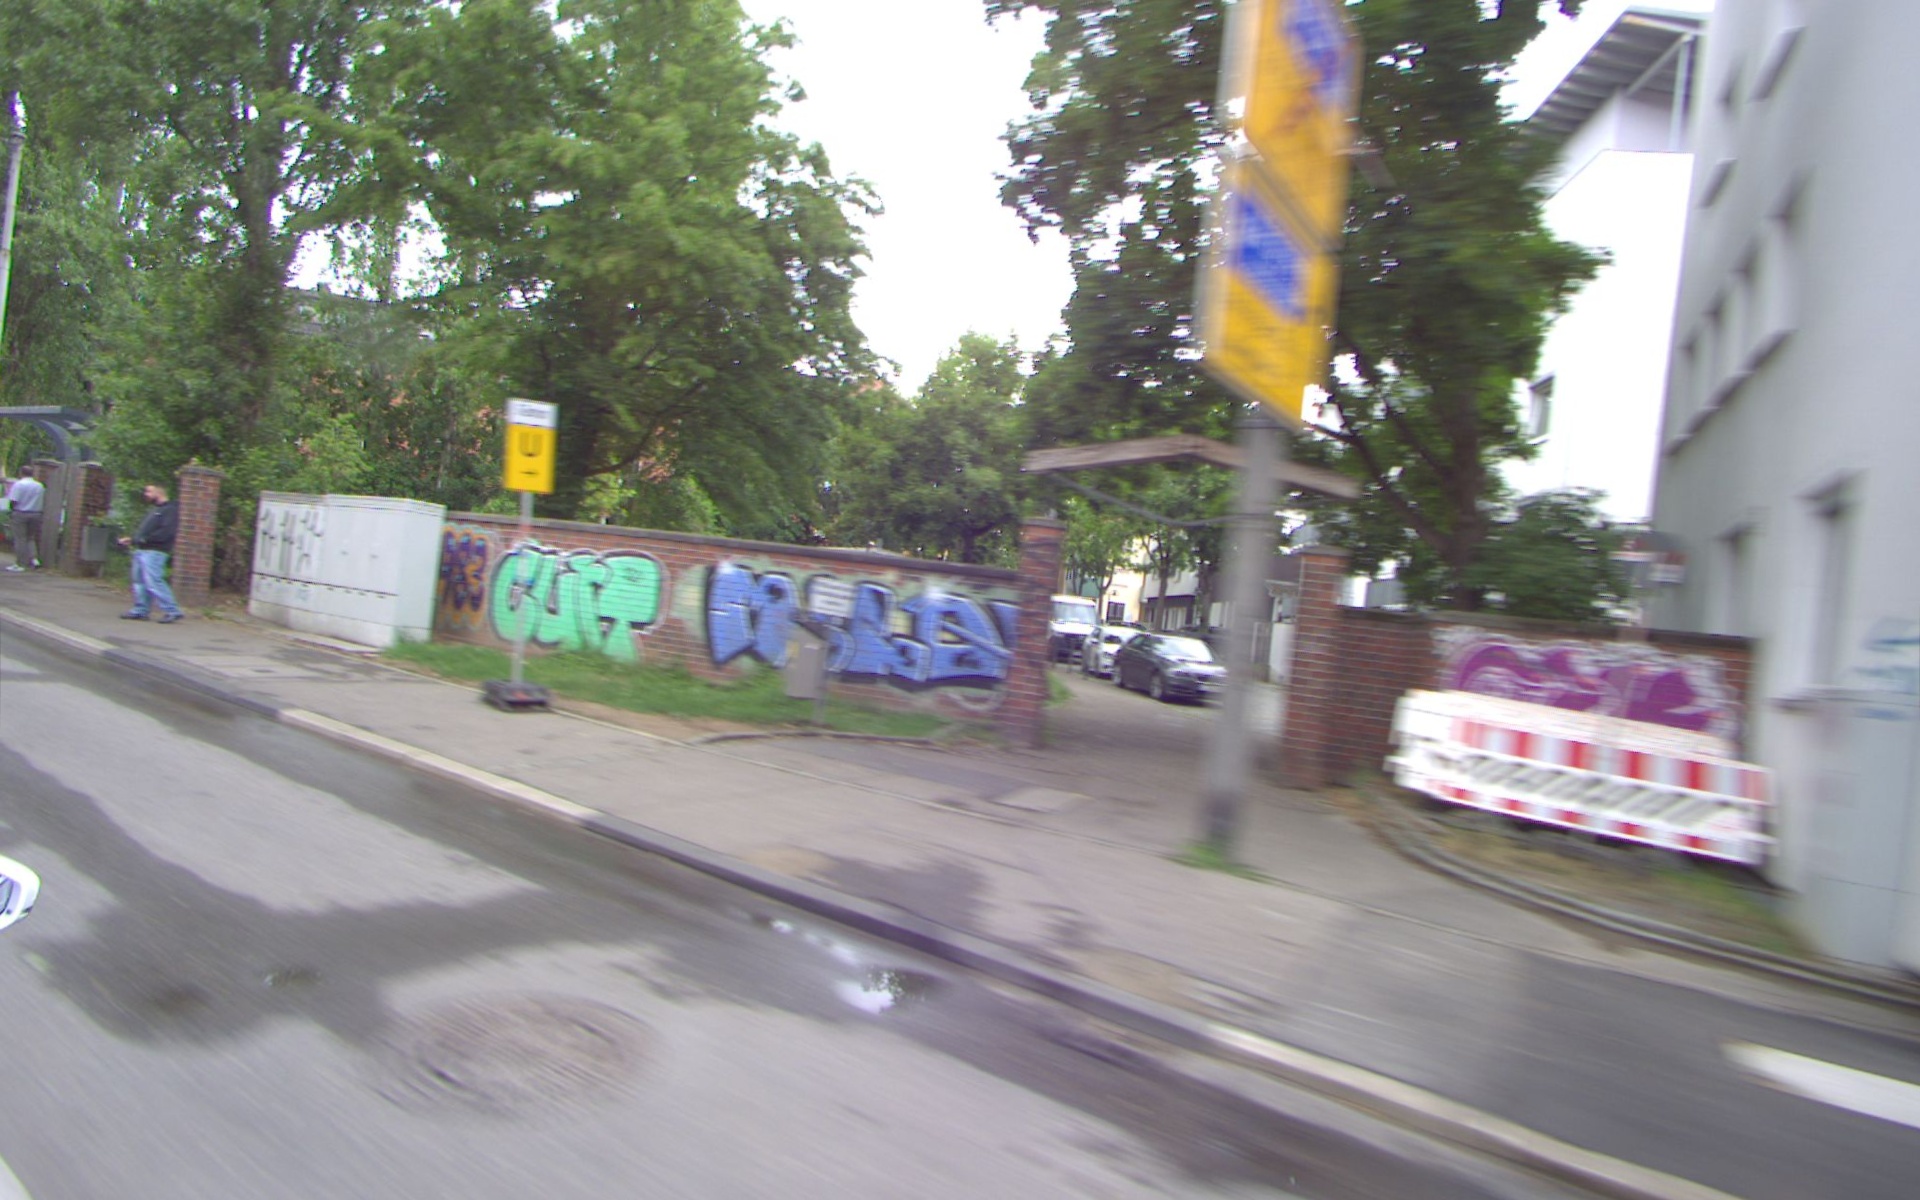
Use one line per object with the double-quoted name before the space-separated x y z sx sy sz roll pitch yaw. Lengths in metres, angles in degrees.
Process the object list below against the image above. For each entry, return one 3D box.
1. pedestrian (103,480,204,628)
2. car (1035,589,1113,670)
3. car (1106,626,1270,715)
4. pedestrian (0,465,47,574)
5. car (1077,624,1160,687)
"pedestrian" -10.453 -0.597 13.036 0.808 1.798 0.583 7 -2 33
"car" 4.023 1.021 36.373 2.119 2.461 5.385 6 0 2
"car" 4.961 1.497 22.625 1.876 1.462 4.419 6 0 -11
"pedestrian" -16.355 -1.399 17.510 0.661 1.802 0.450 7 2 33
"car" 4.527 1.558 29.345 1.711 1.462 4.429 6 0 2
